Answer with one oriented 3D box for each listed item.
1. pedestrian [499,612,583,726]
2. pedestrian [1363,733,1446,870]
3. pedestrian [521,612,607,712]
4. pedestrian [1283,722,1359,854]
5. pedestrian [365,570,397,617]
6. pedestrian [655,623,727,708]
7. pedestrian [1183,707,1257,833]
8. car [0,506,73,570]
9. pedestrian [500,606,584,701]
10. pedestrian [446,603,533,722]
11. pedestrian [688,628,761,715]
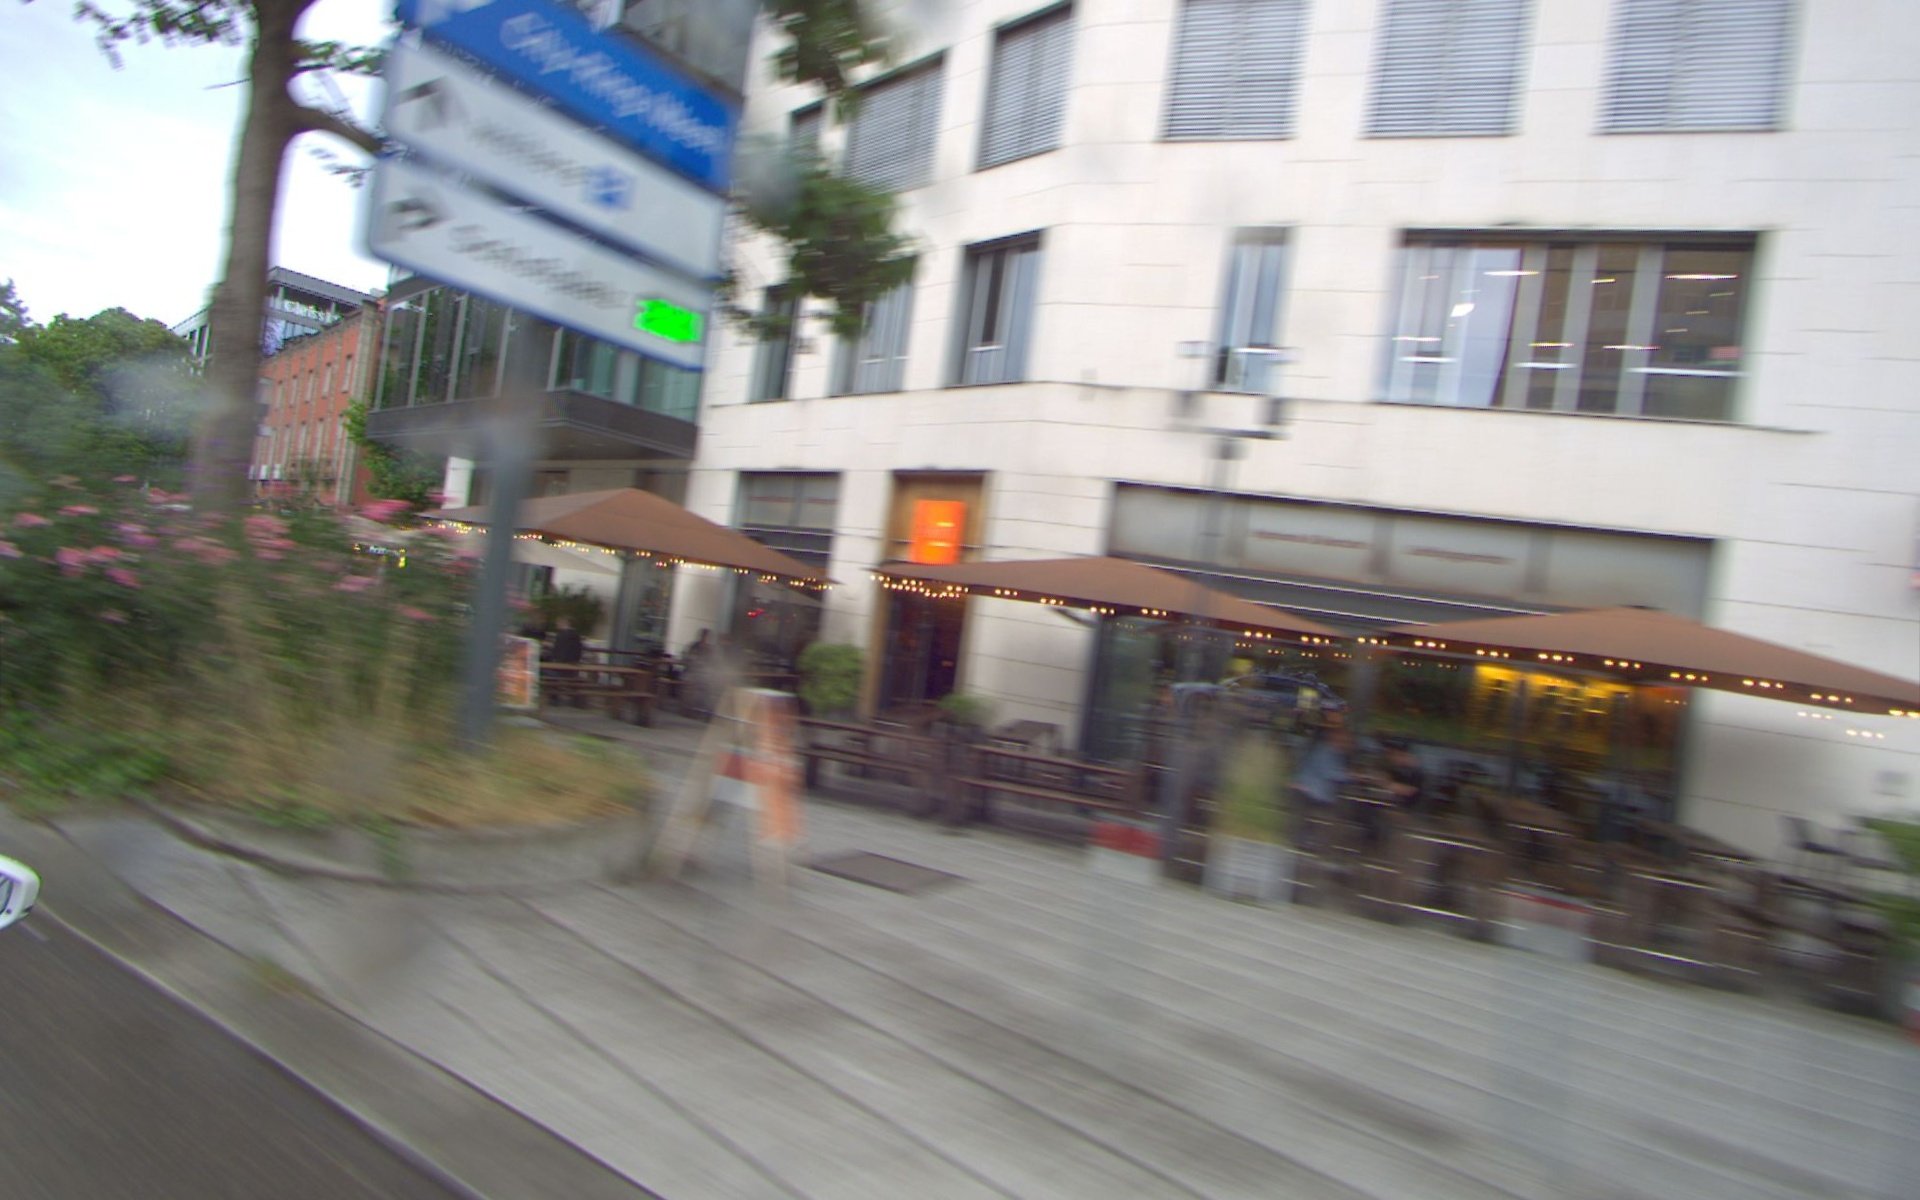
[{"bbox_3d":[-5.319,0.877,12.781,0.559,1.340,0.606,6,-4,41],"label":"pedestrian"},{"bbox_3d":[4.840,2.172,10.988,0.624,1.340,0.630,7,-3,20],"label":"pedestrian"},{"bbox_3d":[-5.911,0.932,15.020,0.627,1.340,0.817,6,-4,40],"label":"pedestrian"},{"bbox_3d":[4.065,2.089,11.332,0.624,1.340,0.630,7,-3,20],"label":"pedestrian"},{"bbox_3d":[-24.177,-0.287,41.992,0.794,1.828,0.610,7,-2,29],"label":"pedestrian"},{"bbox_3d":[-4.696,1.142,17.596,0.627,1.340,0.817,6,-4,40],"label":"pedestrian"},{"bbox_3d":[3.060,1.978,11.819,0.624,1.340,0.630,7,-3,20],"label":"pedestrian"},{"bbox_3d":[-30.101,-2.165,30.754,1.836,1.637,4.102,5,-6,40],"label":"car"},{"bbox_3d":[-6.494,0.834,15.643,0.627,1.340,0.817,6,-4,40],"label":"pedestrian"},{"bbox_3d":[-5.745,0.770,12.297,0.559,1.340,0.606,6,-4,41],"label":"pedestrian"},{"bbox_3d":[-4.016,1.222,17.152,0.627,1.340,0.817,6,-4,40],"label":"pedestrian"}]
